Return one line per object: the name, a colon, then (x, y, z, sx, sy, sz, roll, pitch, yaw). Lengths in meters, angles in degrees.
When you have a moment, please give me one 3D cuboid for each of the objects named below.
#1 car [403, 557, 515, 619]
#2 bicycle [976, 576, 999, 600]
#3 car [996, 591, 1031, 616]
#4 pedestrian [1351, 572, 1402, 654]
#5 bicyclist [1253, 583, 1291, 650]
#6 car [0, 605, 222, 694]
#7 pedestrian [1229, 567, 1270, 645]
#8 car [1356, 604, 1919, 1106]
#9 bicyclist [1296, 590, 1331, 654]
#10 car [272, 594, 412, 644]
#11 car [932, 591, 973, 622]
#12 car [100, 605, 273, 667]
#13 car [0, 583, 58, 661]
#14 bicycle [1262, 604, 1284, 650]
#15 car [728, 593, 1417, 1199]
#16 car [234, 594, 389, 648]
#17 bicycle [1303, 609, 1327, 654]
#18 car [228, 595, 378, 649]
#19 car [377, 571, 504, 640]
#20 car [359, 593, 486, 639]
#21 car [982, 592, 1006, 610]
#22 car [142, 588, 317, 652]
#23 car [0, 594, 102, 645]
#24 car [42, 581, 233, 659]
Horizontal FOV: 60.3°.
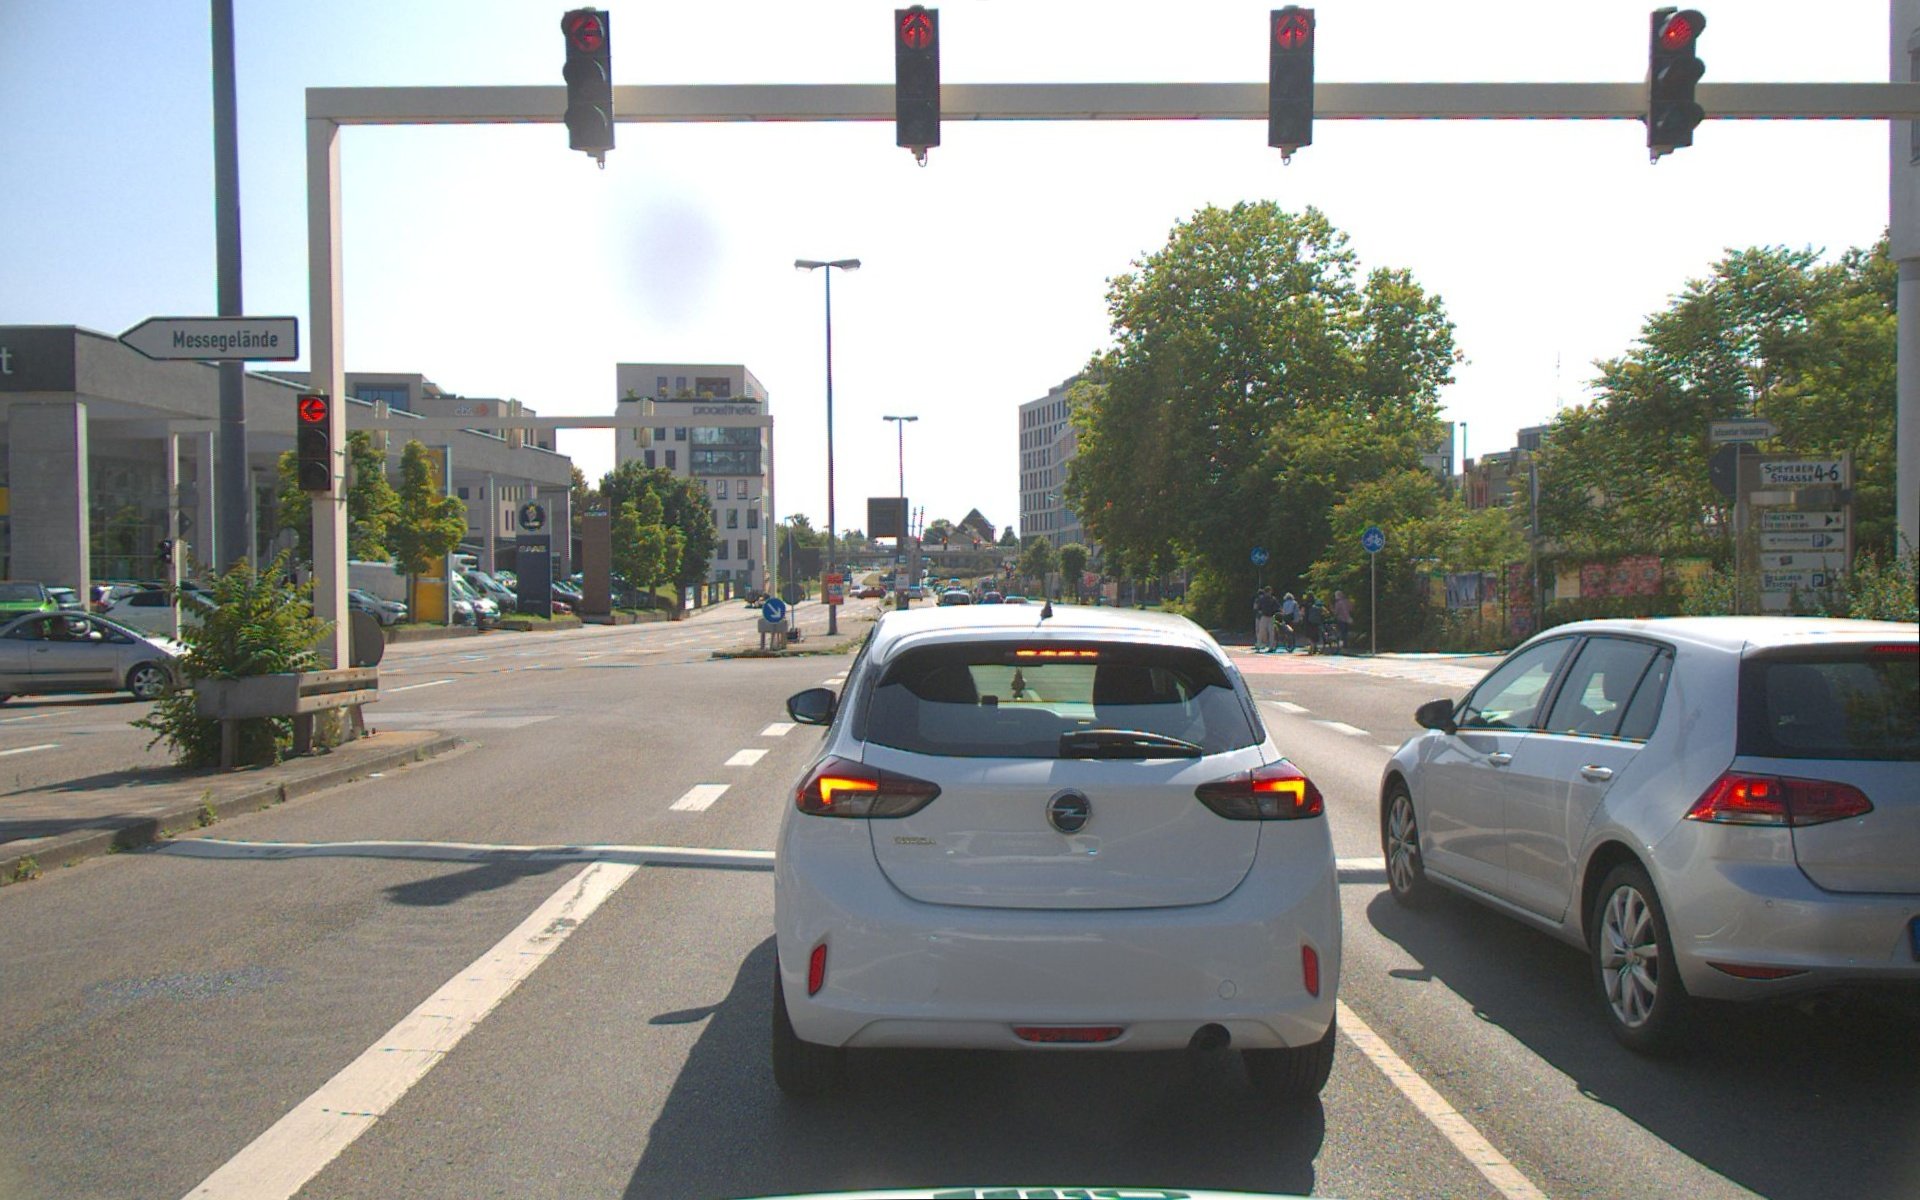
car: (-21.985, -0.510, 72.688, 4.265, 2.646, 2.001, 0, 0, 4)
bicycle: (2.578, -1.119, 155.474, 1.953, 2.195, 3.999, 0, 0, -1)
car: (3.097, 0.205, 96.395, 1.769, 1.410, 3.999, 1, -1, -1)
pedestrian: (10.472, 0.320, 41.609, 1.006, 2.049, 1.038, 0, 0, -1)
bicyclist: (8.616, 0.448, 45.681, 0.861, 1.803, 0.863, 0, 0, -1)
car: (-14.196, 0.786, 26.705, 3.926, 1.355, 1.989, 1, -1, -19)
pedestrian: (8.580, 0.166, 48.987, 1.006, 2.278, 1.038, 0, 0, -1)
car: (3.112, 0.752, 6.887, 1.771, 1.454, 3.997, 0, 0, -3)
bicyclist: (9.390, 0.577, 43.948, 0.675, 1.672, 0.775, 0, 0, -9)
car: (-22.061, 0.661, 59.150, 4.270, 1.726, 1.999, -1, 0, -4)
car: (-0.383, 0.326, 79.610, 1.770, 1.410, 3.998, 1, 0, -2)
car: (-21.419, 0.975, 45.936, 3.912, 1.627, 1.997, -1, 0, -8)
car: (-22.559, 0.532, 38.924, 1.887, 1.764, 3.250, -1, -1, -37)
bicycle: (8.634, 0.730, 45.669, 0.365, 1.238, 1.153, 1, 0, -1)
car: (0.256, 0.744, 6.207, 1.743, 1.520, 3.999, 0, 0, -1)
car: (-21.017, 0.669, 53.743, 4.270, 1.726, 1.999, 0, 0, -3)
bicycle: (9.426, 0.839, 43.909, 0.366, 1.167, 1.034, 1, -1, -3)
car: (-22.174, 0.722, 55.948, 4.270, 1.726, 1.999, -1, 0, -4)
car: (-21.139, 0.207, 67.387, 4.401, 2.731, 2.130, 0, 0, 8)
car: (-21.068, 0.622, 64.939, 4.265, 1.726, 2.001, -1, 0, 4)
car: (2.705, 0.067, 133.866, 1.769, 1.410, 3.999, 1, -1, -1)
car: (-21.405, 0.568, 48.600, 4.211, 1.796, 1.999, -1, 0, -4)
car: (-26.263, 0.579, 45.503, 4.276, 1.290, 1.996, -2, -2, -9)
car: (-20.728, 0.484, 41.819, 3.793, 1.870, 1.999, -1, 0, -4)
